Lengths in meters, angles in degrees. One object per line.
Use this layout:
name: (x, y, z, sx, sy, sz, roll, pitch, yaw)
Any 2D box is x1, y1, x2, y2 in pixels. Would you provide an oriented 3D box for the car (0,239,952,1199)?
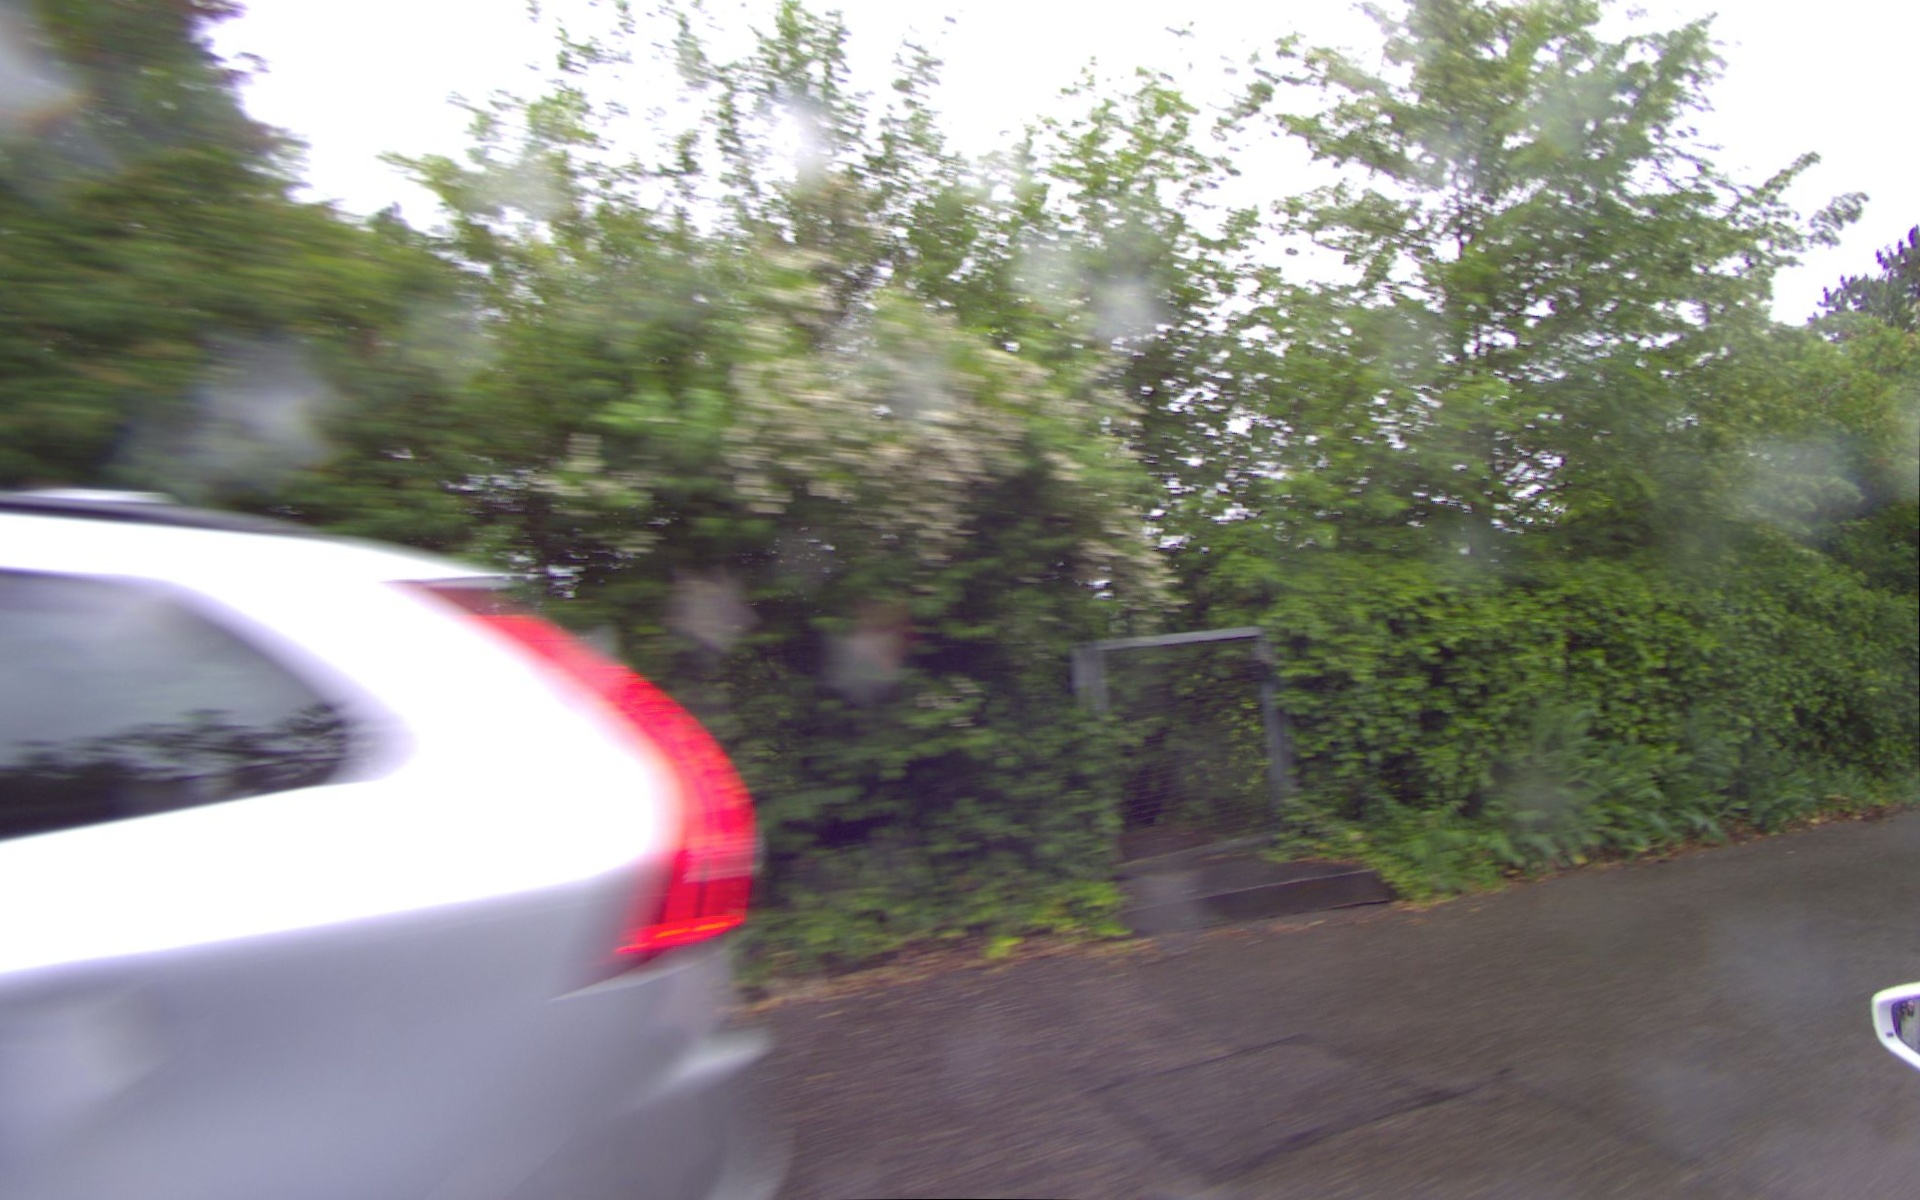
car: (-2.365, 0.493, 1.078, 4.414, 1.642, 1.911, 0, 0, -33)
